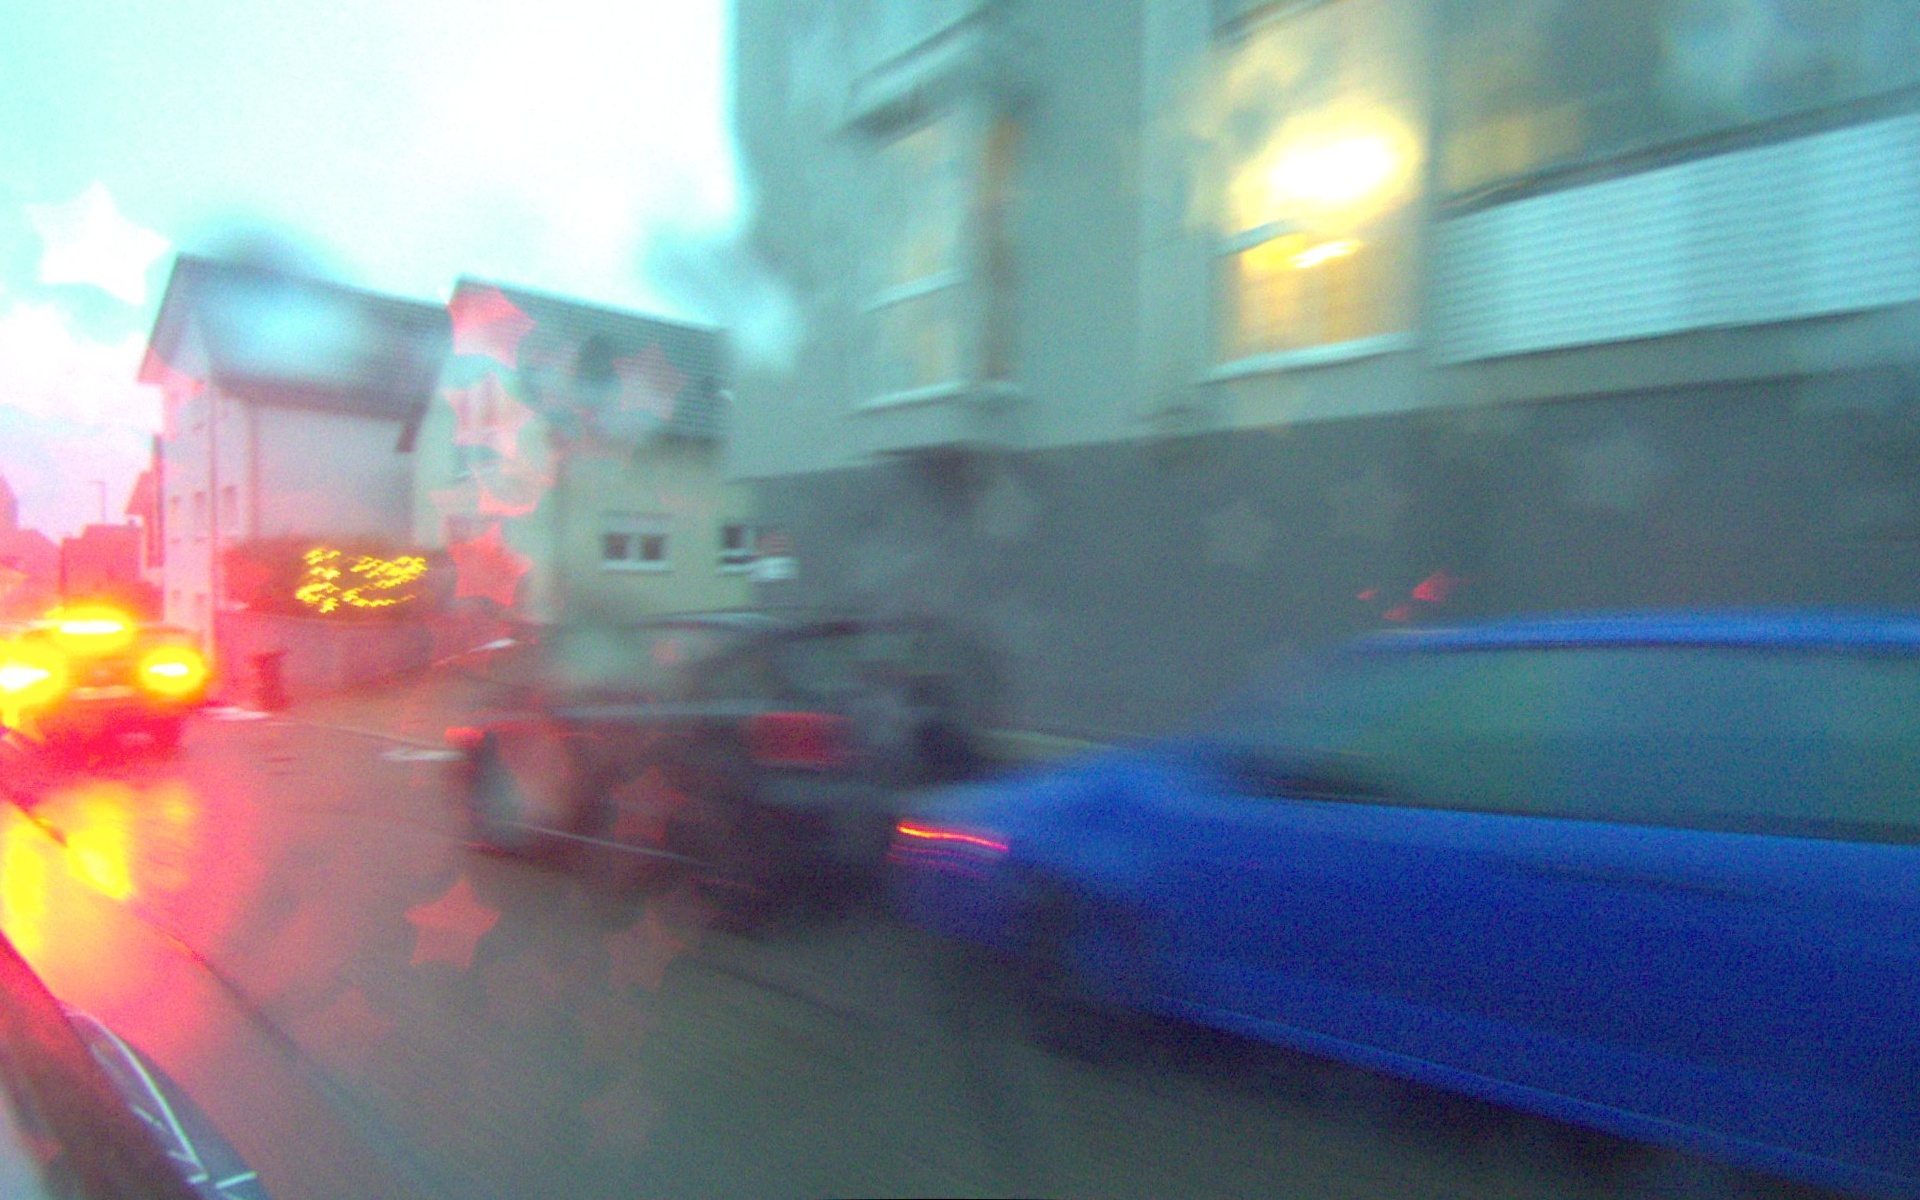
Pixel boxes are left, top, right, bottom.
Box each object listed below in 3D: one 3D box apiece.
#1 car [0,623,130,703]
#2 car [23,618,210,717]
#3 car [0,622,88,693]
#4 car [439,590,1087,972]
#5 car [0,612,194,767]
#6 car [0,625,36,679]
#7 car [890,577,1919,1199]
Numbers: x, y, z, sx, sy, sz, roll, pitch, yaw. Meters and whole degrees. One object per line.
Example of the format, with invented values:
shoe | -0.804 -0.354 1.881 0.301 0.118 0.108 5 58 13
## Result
car | -18.179 1.198 20.341 4.033 1.447 1.715 -2 -2 42
car | -14.365 1.070 17.153 4.436 1.455 1.716 -2 -1 40
car | -23.339 1.379 25.213 4.421 1.636 1.898 -2 -2 42
car | -1.297 0.719 5.723 3.688 1.428 1.648 -1 1 41
car | -10.678 0.931 11.755 4.373 1.507 1.757 -2 -2 38
car | -33.602 1.816 35.374 1.751 1.806 4.130 1 -3 -45
car | 1.782 0.679 3.008 3.910 1.420 1.651 -2 -1 40
